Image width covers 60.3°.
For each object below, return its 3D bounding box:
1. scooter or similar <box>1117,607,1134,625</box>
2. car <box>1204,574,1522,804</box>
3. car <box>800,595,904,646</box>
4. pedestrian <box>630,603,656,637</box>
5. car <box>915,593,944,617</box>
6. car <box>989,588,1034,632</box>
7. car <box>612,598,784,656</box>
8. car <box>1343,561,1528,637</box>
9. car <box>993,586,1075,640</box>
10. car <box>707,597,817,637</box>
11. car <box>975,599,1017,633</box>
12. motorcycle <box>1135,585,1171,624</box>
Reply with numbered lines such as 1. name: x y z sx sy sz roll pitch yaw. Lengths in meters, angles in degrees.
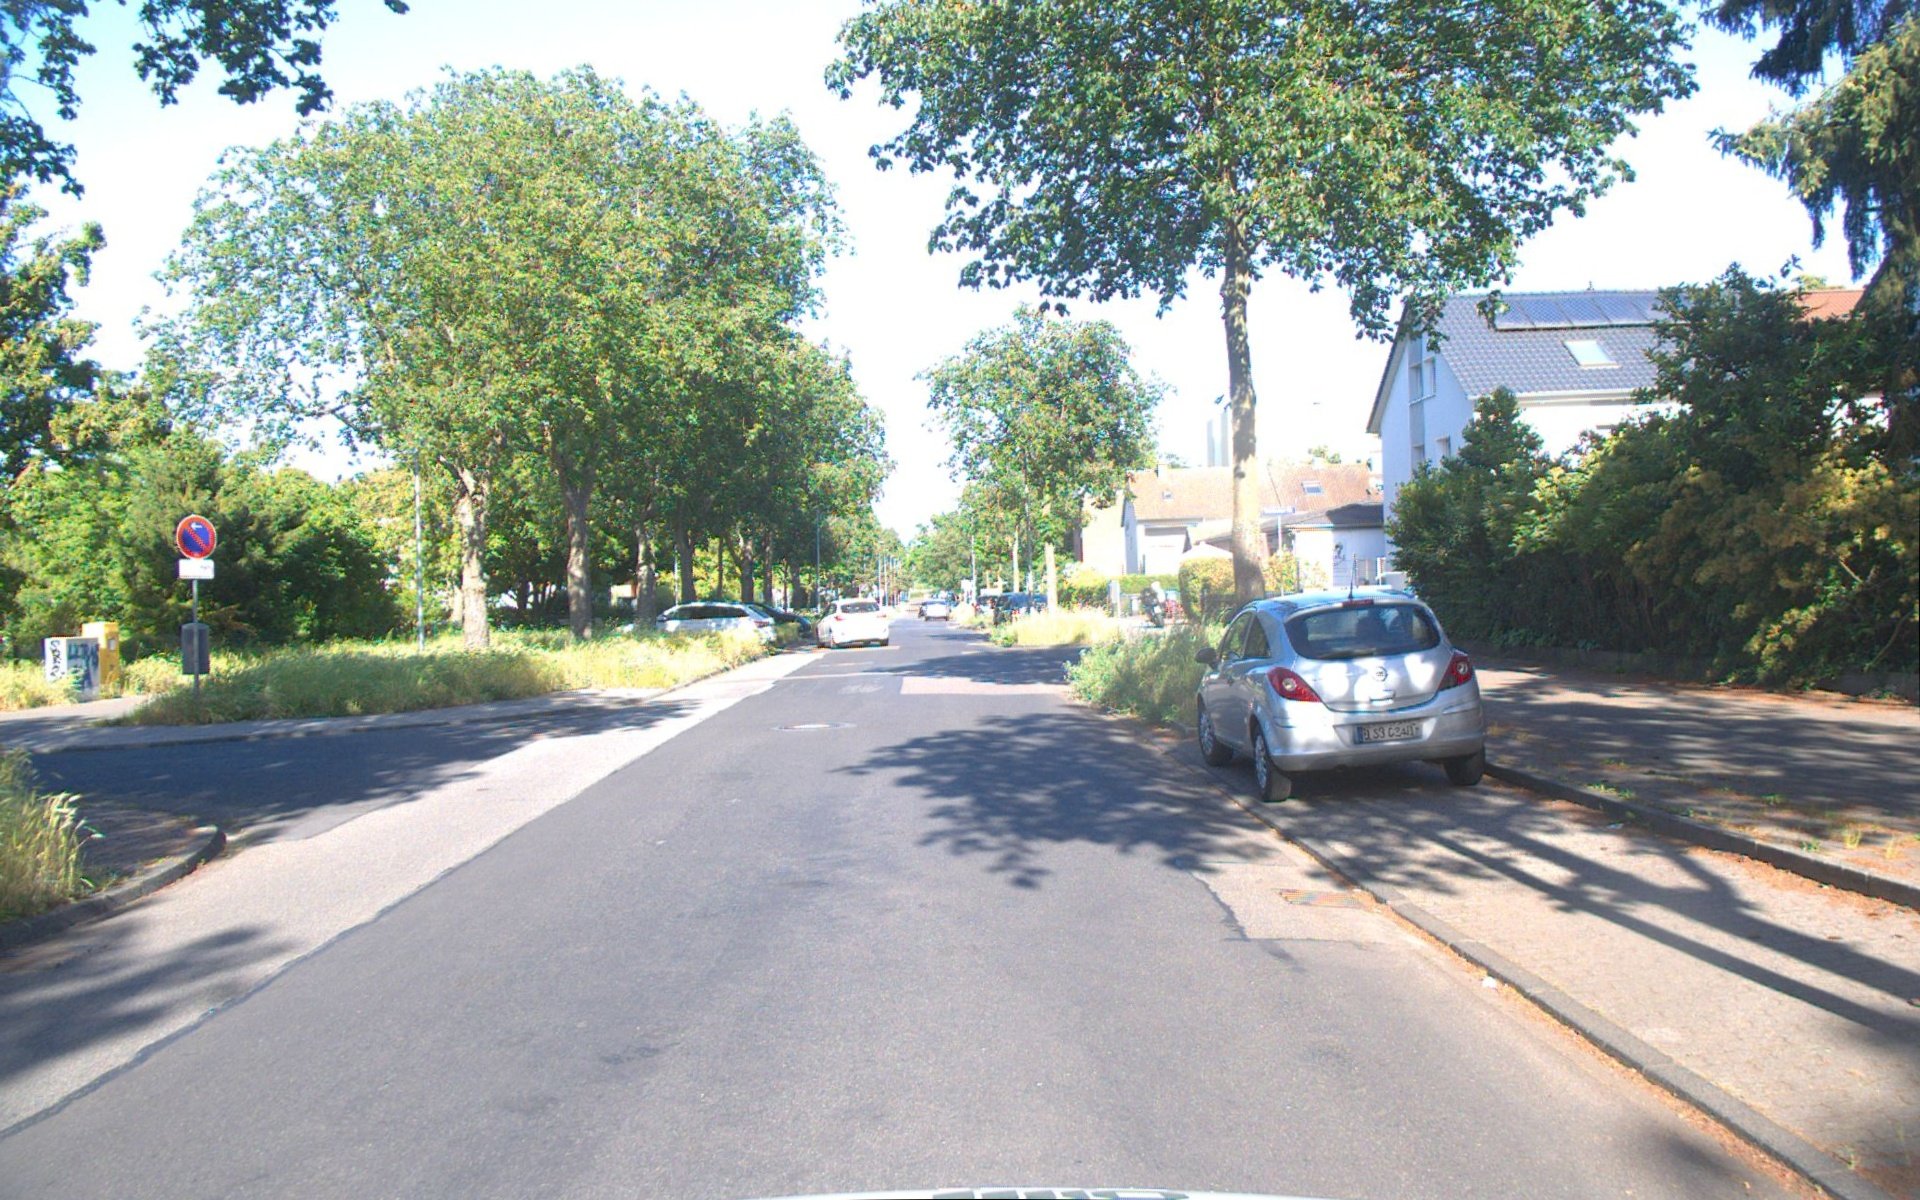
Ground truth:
1. scooter or similar: 8.089 0.791 80.711 0.361 0.873 1.406 0 0 -14
2. car: 3.136 0.652 13.694 1.951 1.536 4.002 -3 -1 6
3. car: -3.426 0.616 51.780 1.967 1.480 4.194 -2 0 -23
4. pedestrian: -17.463 1.095 91.046 1.206 1.859 1.543 0 -1 -18
5. car: -2.147 0.355 114.821 1.953 1.534 3.657 1 0 -1
6. car: 2.024 0.380 65.617 1.577 1.650 4.380 1 0 -1
7. car: -7.473 0.752 47.564 4.576 1.529 2.000 -1 0 0
8. car: 11.523 -0.033 40.221 3.912 1.668 1.773 -2 0 -8
9. car: 2.367 0.417 54.056 1.956 1.650 4.374 1 0 -7
10. car: -8.031 0.688 67.324 4.279 1.558 1.807 0 -1 -2
11. car: 2.002 0.922 92.674 1.954 1.758 3.997 -3 -1 -4
12. motorcycle: 6.536 0.159 56.074 0.801 1.248 2.351 -3 0 -2
